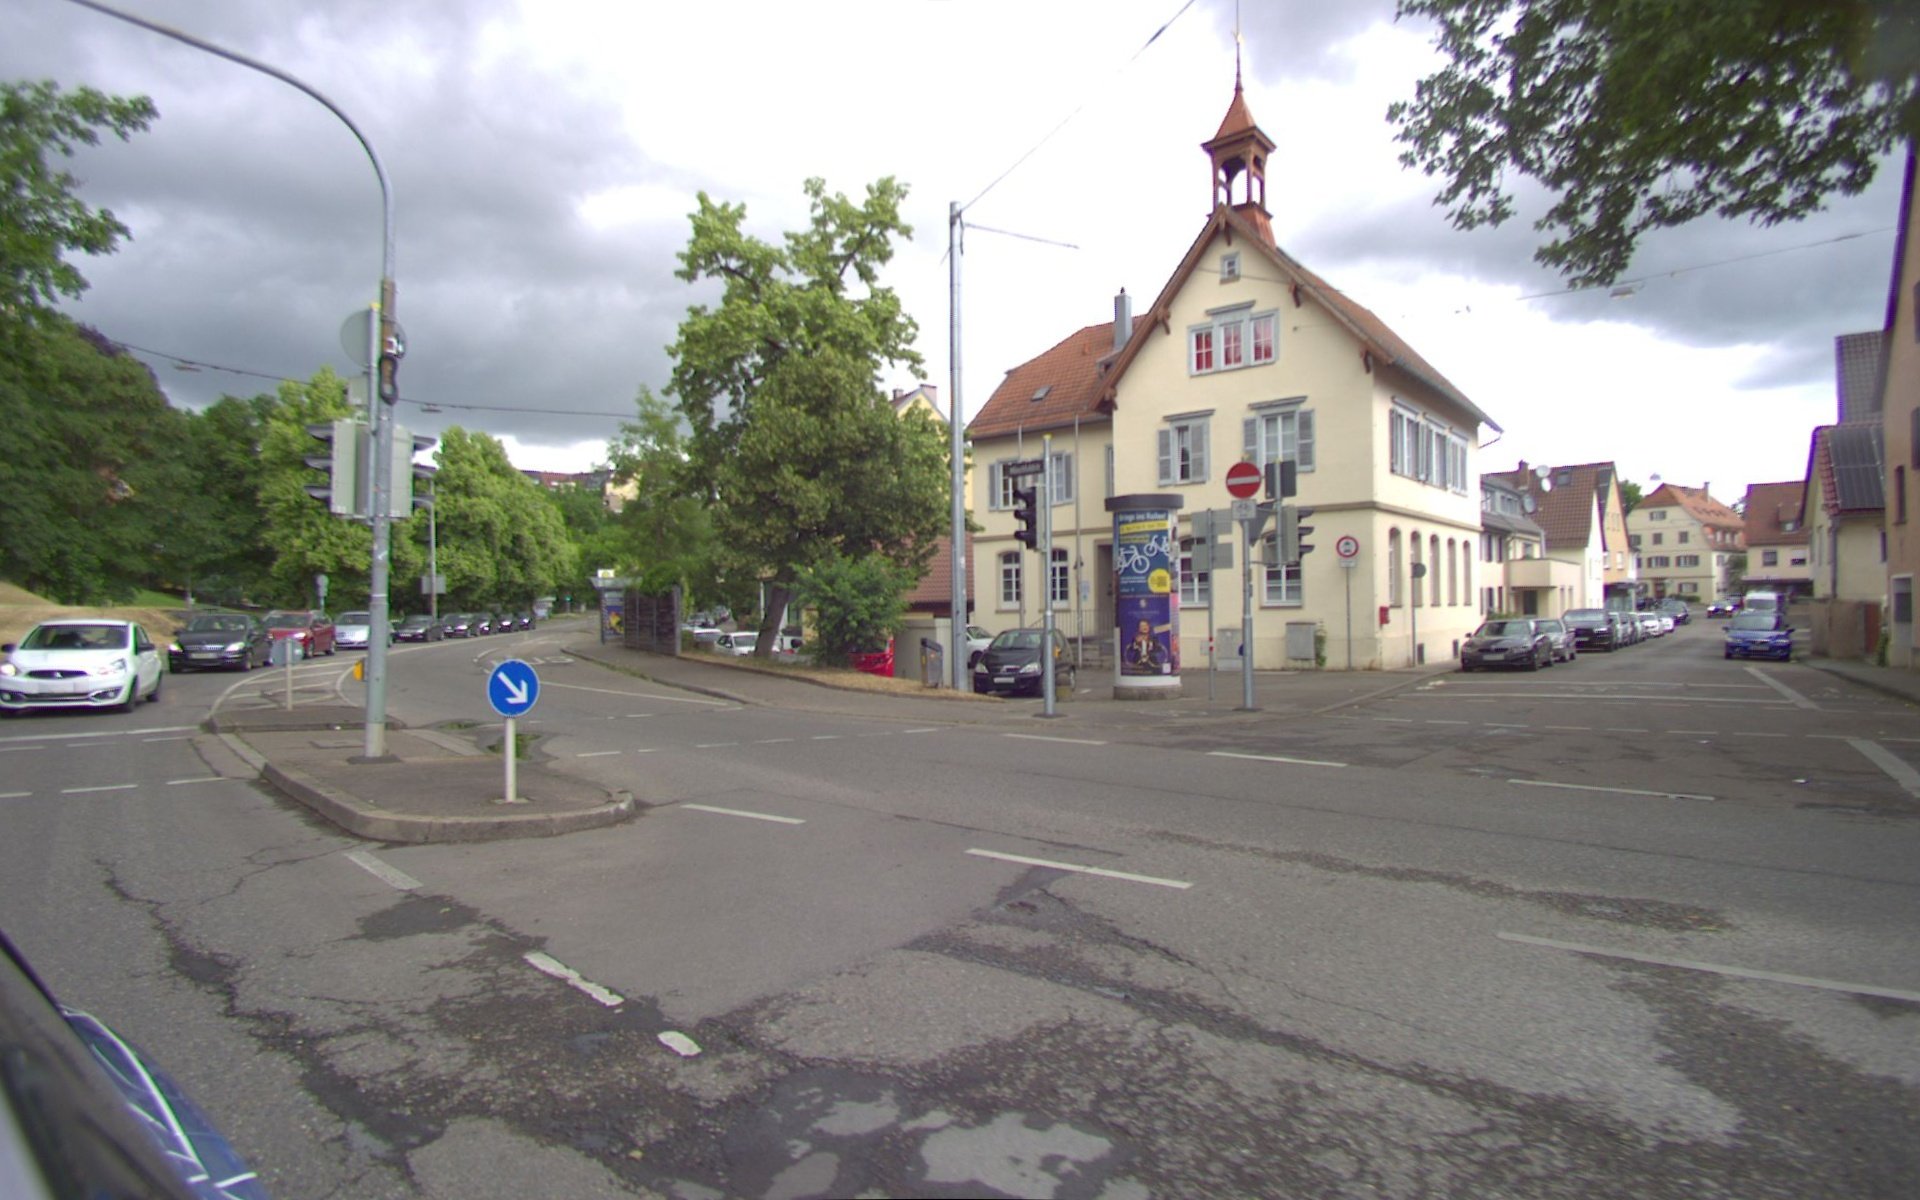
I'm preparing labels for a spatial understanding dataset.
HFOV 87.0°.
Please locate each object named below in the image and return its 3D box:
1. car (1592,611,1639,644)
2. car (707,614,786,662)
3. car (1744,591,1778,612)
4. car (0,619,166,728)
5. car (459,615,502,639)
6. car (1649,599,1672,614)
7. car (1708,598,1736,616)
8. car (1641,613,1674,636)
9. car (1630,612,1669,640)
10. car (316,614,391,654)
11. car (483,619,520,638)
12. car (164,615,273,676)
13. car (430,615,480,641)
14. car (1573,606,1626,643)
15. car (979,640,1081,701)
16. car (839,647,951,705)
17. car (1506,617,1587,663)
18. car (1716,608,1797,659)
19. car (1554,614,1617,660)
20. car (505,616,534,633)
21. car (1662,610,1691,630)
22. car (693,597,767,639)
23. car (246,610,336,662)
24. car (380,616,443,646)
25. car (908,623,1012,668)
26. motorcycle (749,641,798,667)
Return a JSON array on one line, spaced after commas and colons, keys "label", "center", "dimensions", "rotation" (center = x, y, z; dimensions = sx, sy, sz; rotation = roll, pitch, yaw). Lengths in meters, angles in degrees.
[{"label": "car", "center": [32.775, 1.362, 50.580], "dimensions": [1.824, 1.526, 3.625], "rotation": [-1, 0, 35]}, {"label": "car", "center": [-7.937, 1.347, 37.359], "dimensions": [1.868, 1.640, 4.013], "rotation": [0, 0, -26]}, {"label": "car", "center": [62.177, 0.097, 78.573], "dimensions": [1.824, 1.589, 3.625], "rotation": [0, -1, 35]}, {"label": "car", "center": [-14.295, 1.090, 16.582], "dimensions": [1.602, 1.519, 4.011], "rotation": [0, 0, -32]}, {"label": "car", "center": [-30.951, 1.735, 65.447], "dimensions": [1.680, 1.457, 3.877], "rotation": [0, -1, -13]}, {"label": "car", "center": [70.081, 0.677, 101.202], "dimensions": [1.824, 1.526, 3.625], "rotation": [0, -1, 35]}, {"label": "car", "center": [67.614, 0.602, 89.806], "dimensions": [1.824, 1.526, 3.625], "rotation": [0, -1, 35]}, {"label": "car", "center": [47.448, 1.636, 68.837], "dimensions": [1.824, 1.526, 3.625], "rotation": [0, -1, 35]}, {"label": "car", "center": [40.534, 1.493, 59.477], "dimensions": [1.824, 1.526, 3.625], "rotation": [0, -1, 35]}, {"label": "car", "center": [-25.494, 1.390, 42.684], "dimensions": [1.754, 1.580, 4.012], "rotation": [0, -1, -16]}, {"label": "car", "center": [-32.055, 1.984, 70.802], "dimensions": [1.618, 1.278, 3.634], "rotation": [0, -1, -12]}, {"label": "car", "center": [-20.308, 1.188, 27.874], "dimensions": [1.701, 1.532, 4.013], "rotation": [0, -1, -25]}, {"label": "car", "center": [-29.236, 1.611, 58.717], "dimensions": [1.670, 1.422, 3.992], "rotation": [0, -1, -12]}, {"label": "car", "center": [28.371, 1.056, 44.851], "dimensions": [1.824, 1.526, 3.625], "rotation": [-1, 0, 35]}, {"label": "car", "center": [1.715, 1.614, 23.932], "dimensions": [1.473, 1.320, 3.375], "rotation": [-1, -2, 21]}, {"label": "car", "center": [-1.769, 2.086, 28.602], "dimensions": [1.591, 1.364, 3.597], "rotation": [0, -1, 26]}, {"label": "car", "center": [18.618, 1.219, 32.080], "dimensions": [1.710, 1.325, 3.815], "rotation": [0, -1, 38]}, {"label": "car", "center": [25.876, 1.057, 32.981], "dimensions": [1.824, 1.526, 3.625], "rotation": [-1, 0, 35]}, {"label": "car", "center": [24.660, 1.397, 39.852], "dimensions": [1.744, 1.696, 3.794], "rotation": [-1, -1, 38]}, {"label": "car", "center": [-33.603, 1.838, 77.197], "dimensions": [1.397, 1.259, 3.304], "rotation": [0, -1, -12]}, {"label": "car", "center": [56.985, 1.580, 80.558], "dimensions": [1.824, 1.526, 3.625], "rotation": [-1, 0, 35]}, {"label": "car", "center": [-9.468, 0.711, 41.414], "dimensions": [1.903, 1.620, 3.673], "rotation": [0, 0, -31]}, {"label": "car", "center": [-22.941, 1.186, 34.868], "dimensions": [1.647, 1.654, 4.113], "rotation": [0, -1, -20]}, {"label": "car", "center": [-28.088, 1.542, 51.951], "dimensions": [1.825, 1.468, 4.010], "rotation": [0, -1, -12]}, {"label": "car", "center": [-0.007, 1.601, 36.490], "dimensions": [3.475, 1.503, 1.634], "rotation": [-1, -1, 36]}, {"label": "motorcycle", "center": [-6.252, 1.794, 33.962], "dimensions": [1.556, 0.830, 0.420], "rotation": [0, -1, -25]}]
